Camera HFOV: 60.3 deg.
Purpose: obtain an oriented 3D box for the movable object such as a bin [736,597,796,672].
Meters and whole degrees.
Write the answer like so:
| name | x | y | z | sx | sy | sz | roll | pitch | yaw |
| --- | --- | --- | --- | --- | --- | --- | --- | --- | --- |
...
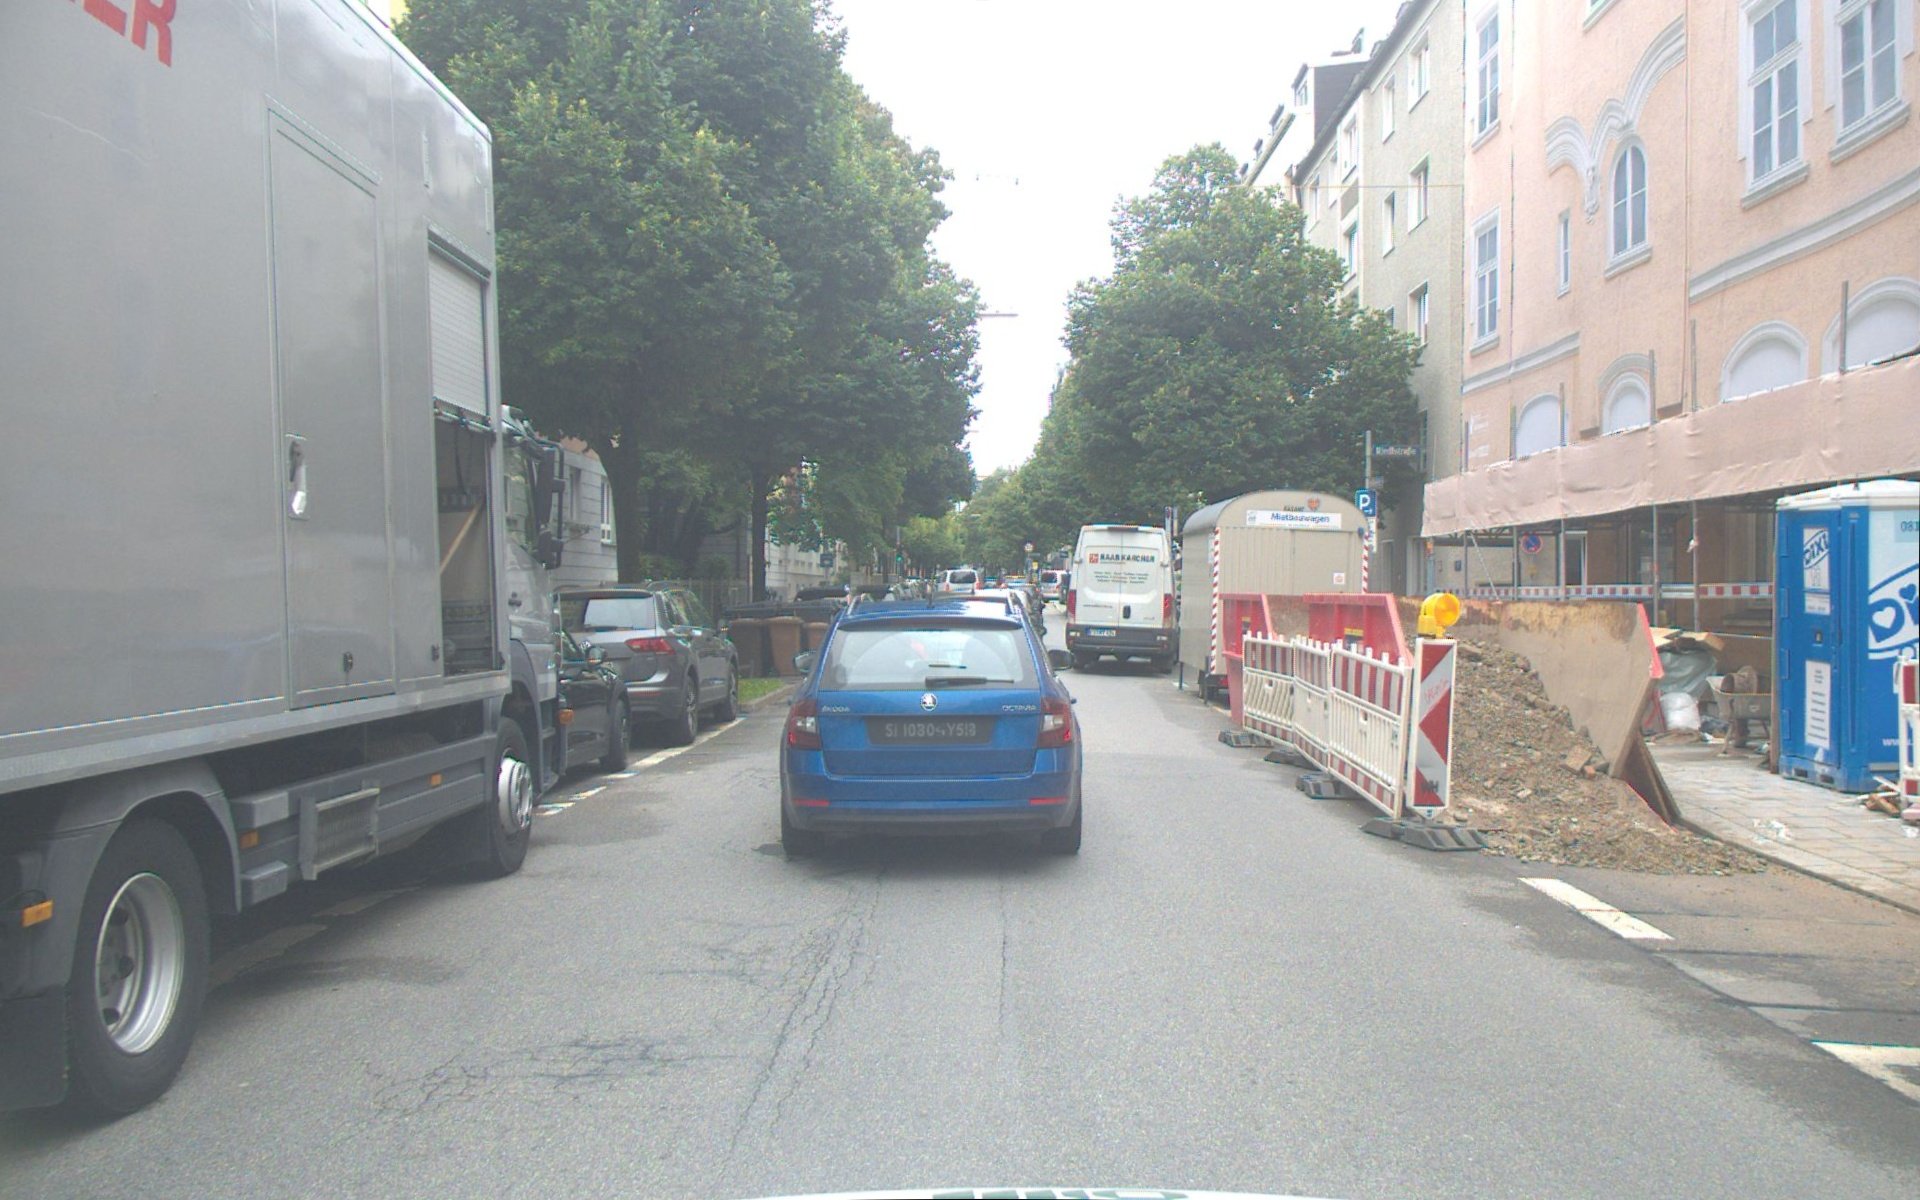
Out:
| name | x | y | z | sx | sy | sz | roll | pitch | yaw |
| --- | --- | --- | --- | --- | --- | --- | --- | --- | --- |
| movable object such as a bin | -3.785 | 0.667 | 32.356 | 1.036 | 1.400 | 1.095 | -2 | 0 | -3 |

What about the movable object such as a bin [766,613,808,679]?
| name | x | y | z | sx | sy | sz | roll | pitch | yaw |
| --- | --- | --- | --- | --- | --- | --- | --- | --- | --- |
| movable object such as a bin | -3.175 | 0.840 | 30.417 | 0.697 | 1.168 | 0.636 | -2 | 0 | -2 |

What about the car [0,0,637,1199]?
| name | x | y | z | sx | sy | sz | roll | pitch | yaw |
| --- | --- | --- | --- | --- | --- | --- | --- | --- | --- |
| car | -3.529 | -0.472 | 6.351 | 2.754 | 3.884 | 8.724 | 0 | 0 | 1 |

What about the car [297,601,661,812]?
| name | x | y | z | sx | sy | sz | roll | pitch | yaw |
| --- | --- | --- | --- | --- | --- | --- | --- | --- | --- |
| car | -3.641 | 0.736 | 13.214 | 1.664 | 1.434 | 3.710 | 0 | 0 | 3 |

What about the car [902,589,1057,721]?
| name | x | y | z | sx | sy | sz | roll | pitch | yaw |
| --- | --- | --- | --- | --- | --- | --- | --- | --- | --- |
| car | 0.323 | 0.616 | 20.475 | 1.705 | 1.446 | 3.665 | 2 | 0 | 3 |

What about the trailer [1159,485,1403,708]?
| name | x | y | z | sx | sy | sz | roll | pitch | yaw |
| --- | --- | --- | --- | --- | --- | --- | --- | --- | --- |
| trailer | 4.665 | -0.033 | 25.349 | 2.450 | 2.889 | 6.902 | 1 | 0 | 1 |

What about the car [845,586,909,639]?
| name | x | y | z | sx | sy | sz | roll | pitch | yaw |
| --- | --- | --- | --- | --- | --- | --- | --- | --- | --- |
| car | -2.462 | 0.349 | 49.880 | 1.775 | 1.504 | 3.999 | 1 | 1 | -1 |

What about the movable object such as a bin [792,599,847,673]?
| name | x | y | z | sx | sy | sz | roll | pitch | yaw |
| --- | --- | --- | --- | --- | --- | --- | --- | --- | --- |
| movable object such as a bin | -2.749 | 0.693 | 32.426 | 1.000 | 1.400 | 1.103 | -2 | 0 | -3 |

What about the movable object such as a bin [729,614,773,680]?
| name | x | y | z | sx | sy | sz | roll | pitch | yaw |
| --- | --- | --- | --- | --- | --- | --- | --- | --- | --- |
| movable object such as a bin | -3.830 | 0.862 | 30.369 | 0.706 | 1.158 | 0.658 | -2 | 0 | -2 |

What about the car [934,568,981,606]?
| name | x | y | z | sx | sy | sz | roll | pitch | yaw |
| --- | --- | --- | --- | --- | --- | --- | --- | --- | --- |
| car | -0.156 | -0.718 | 87.197 | 1.833 | 1.902 | 4.339 | 1 | 1 | -9 |

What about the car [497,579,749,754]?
| name | x | y | z | sx | sy | sz | roll | pitch | yaw |
| --- | --- | --- | --- | --- | --- | --- | --- | --- | --- |
| car | -3.510 | 0.626 | 18.022 | 1.748 | 1.657 | 4.186 | -1 | 0 | 2 |

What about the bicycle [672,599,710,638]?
| name | x | y | z | sx | sy | sz | roll | pitch | yaw |
| --- | --- | --- | --- | --- | --- | --- | --- | --- | --- |
| bicycle | -7.724 | 0.515 | 47.568 | 0.621 | 1.086 | 2.388 | -1 | 1 | 2 |

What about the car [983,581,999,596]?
| name | x | y | z | sx | sy | sz | roll | pitch | yaw |
| --- | --- | --- | --- | --- | --- | --- | --- | --- | --- |
| car | 3.711 | -1.341 | 196.162 | 1.829 | 1.770 | 4.347 | 0 | 0 | 0 |

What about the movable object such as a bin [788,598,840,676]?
| name | x | y | z | sx | sy | sz | roll | pitch | yaw |
| --- | --- | --- | --- | --- | --- | --- | --- | --- | --- |
| movable object such as a bin | -2.757 | 0.684 | 31.328 | 0.899 | 1.400 | 1.079 | -2 | 0 | -3 |

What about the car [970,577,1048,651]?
| name | x | y | z | sx | sy | sz | roll | pitch | yaw |
| --- | --- | --- | --- | --- | --- | --- | --- | --- | --- |
| car | 1.184 | 0.301 | 41.506 | 1.829 | 1.726 | 4.348 | 1 | 1 | 0 |

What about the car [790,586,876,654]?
| name | x | y | z | sx | sy | sz | roll | pitch | yaw |
| --- | --- | --- | --- | --- | --- | --- | --- | --- | --- |
| car | -2.955 | 0.437 | 39.151 | 1.775 | 1.504 | 3.999 | 1 | 1 | -1 |

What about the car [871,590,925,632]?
| name | x | y | z | sx | sy | sz | roll | pitch | yaw |
| --- | --- | --- | --- | --- | --- | --- | --- | --- | --- |
| car | -2.290 | 0.381 | 61.922 | 1.775 | 1.504 | 4.001 | 1 | 1 | 1 |

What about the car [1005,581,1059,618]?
| name | x | y | z | sx | sy | sz | roll | pitch | yaw |
| --- | --- | --- | --- | --- | --- | --- | --- | --- | --- |
| car | 2.844 | -0.042 | 66.181 | 1.830 | 1.371 | 4.346 | 1 | 1 | -1 |

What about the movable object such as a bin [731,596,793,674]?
| name | x | y | z | sx | sy | sz | roll | pitch | yaw |
| --- | --- | --- | --- | --- | --- | --- | --- | --- | --- |
| movable object such as a bin | -3.734 | 0.649 | 31.255 | 1.060 | 1.400 | 1.083 | -2 | 0 | -3 |

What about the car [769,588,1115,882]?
| name | x | y | z | sx | sy | sz | roll | pitch | yaw |
| --- | --- | --- | --- | --- | --- | --- | --- | --- | --- |
| car | -0.106 | 0.678 | 10.562 | 1.752 | 1.486 | 4.314 | 0 | 0 | -1 |

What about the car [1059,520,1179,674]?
| name | x | y | z | sx | sy | sz | roll | pitch | yaw |
| --- | --- | --- | --- | --- | --- | --- | --- | --- | --- |
| car | 3.182 | -0.047 | 32.462 | 2.068 | 2.710 | 5.504 | 1 | 0 | 7 |

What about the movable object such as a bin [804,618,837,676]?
| name | x | y | z | sx | sy | sz | roll | pitch | yaw |
| --- | --- | --- | --- | --- | --- | --- | --- | --- | --- |
| movable object such as a bin | -2.568 | 0.863 | 30.472 | 0.535 | 1.038 | 0.636 | -2 | 0 | -2 |

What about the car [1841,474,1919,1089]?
| name | x | y | z | sx | sy | sz | roll | pitch | yaw |
| --- | --- | --- | --- | --- | --- | --- | --- | --- | --- |
| car | 4.007 | 0.518 | 3.184 | 2.039 | 1.955 | 5.141 | 1 | -2 | 2 |
